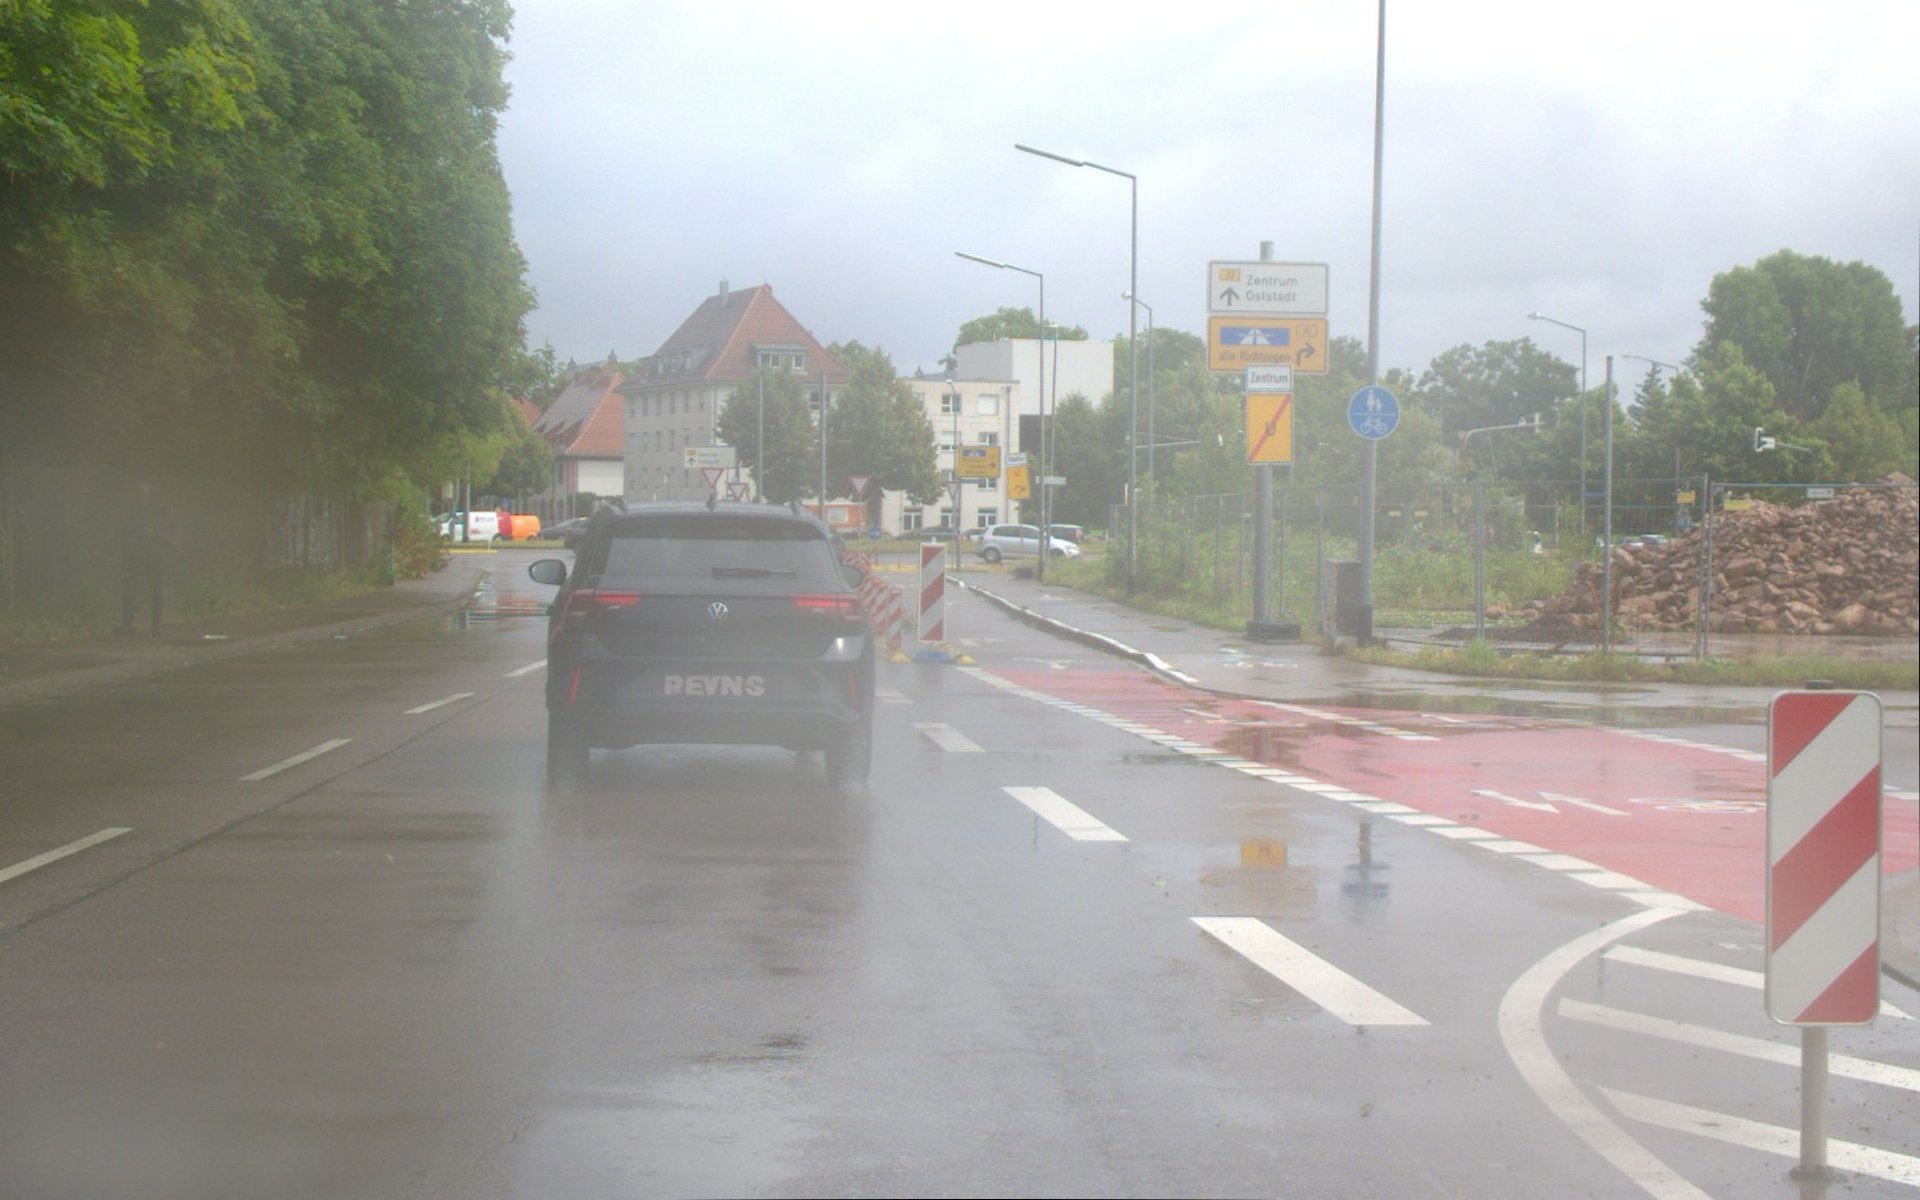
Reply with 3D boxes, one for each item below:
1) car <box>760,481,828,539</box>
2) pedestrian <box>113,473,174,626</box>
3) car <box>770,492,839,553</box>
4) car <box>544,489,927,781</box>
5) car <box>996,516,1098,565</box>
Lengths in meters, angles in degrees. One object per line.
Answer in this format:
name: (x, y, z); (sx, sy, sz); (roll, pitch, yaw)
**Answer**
car: (-5.027, -2.712, 103.946); (1.996, 1.697, 4.016); (0, 1, -3)
pedestrian: (-9.342, -0.582, 39.346); (0.524, 1.695, 0.566); (3, 3, -2)
car: (-4.257, -2.117, 93.920); (1.841, 1.635, 4.016); (0, 1, -3)
car: (-1.401, 0.150, 19.886); (1.986, 1.515, 4.001); (0, 1, -7)
car: (3.401, -2.359, 135.320); (3.987, 1.892, 1.825); (0, 1, 1)
